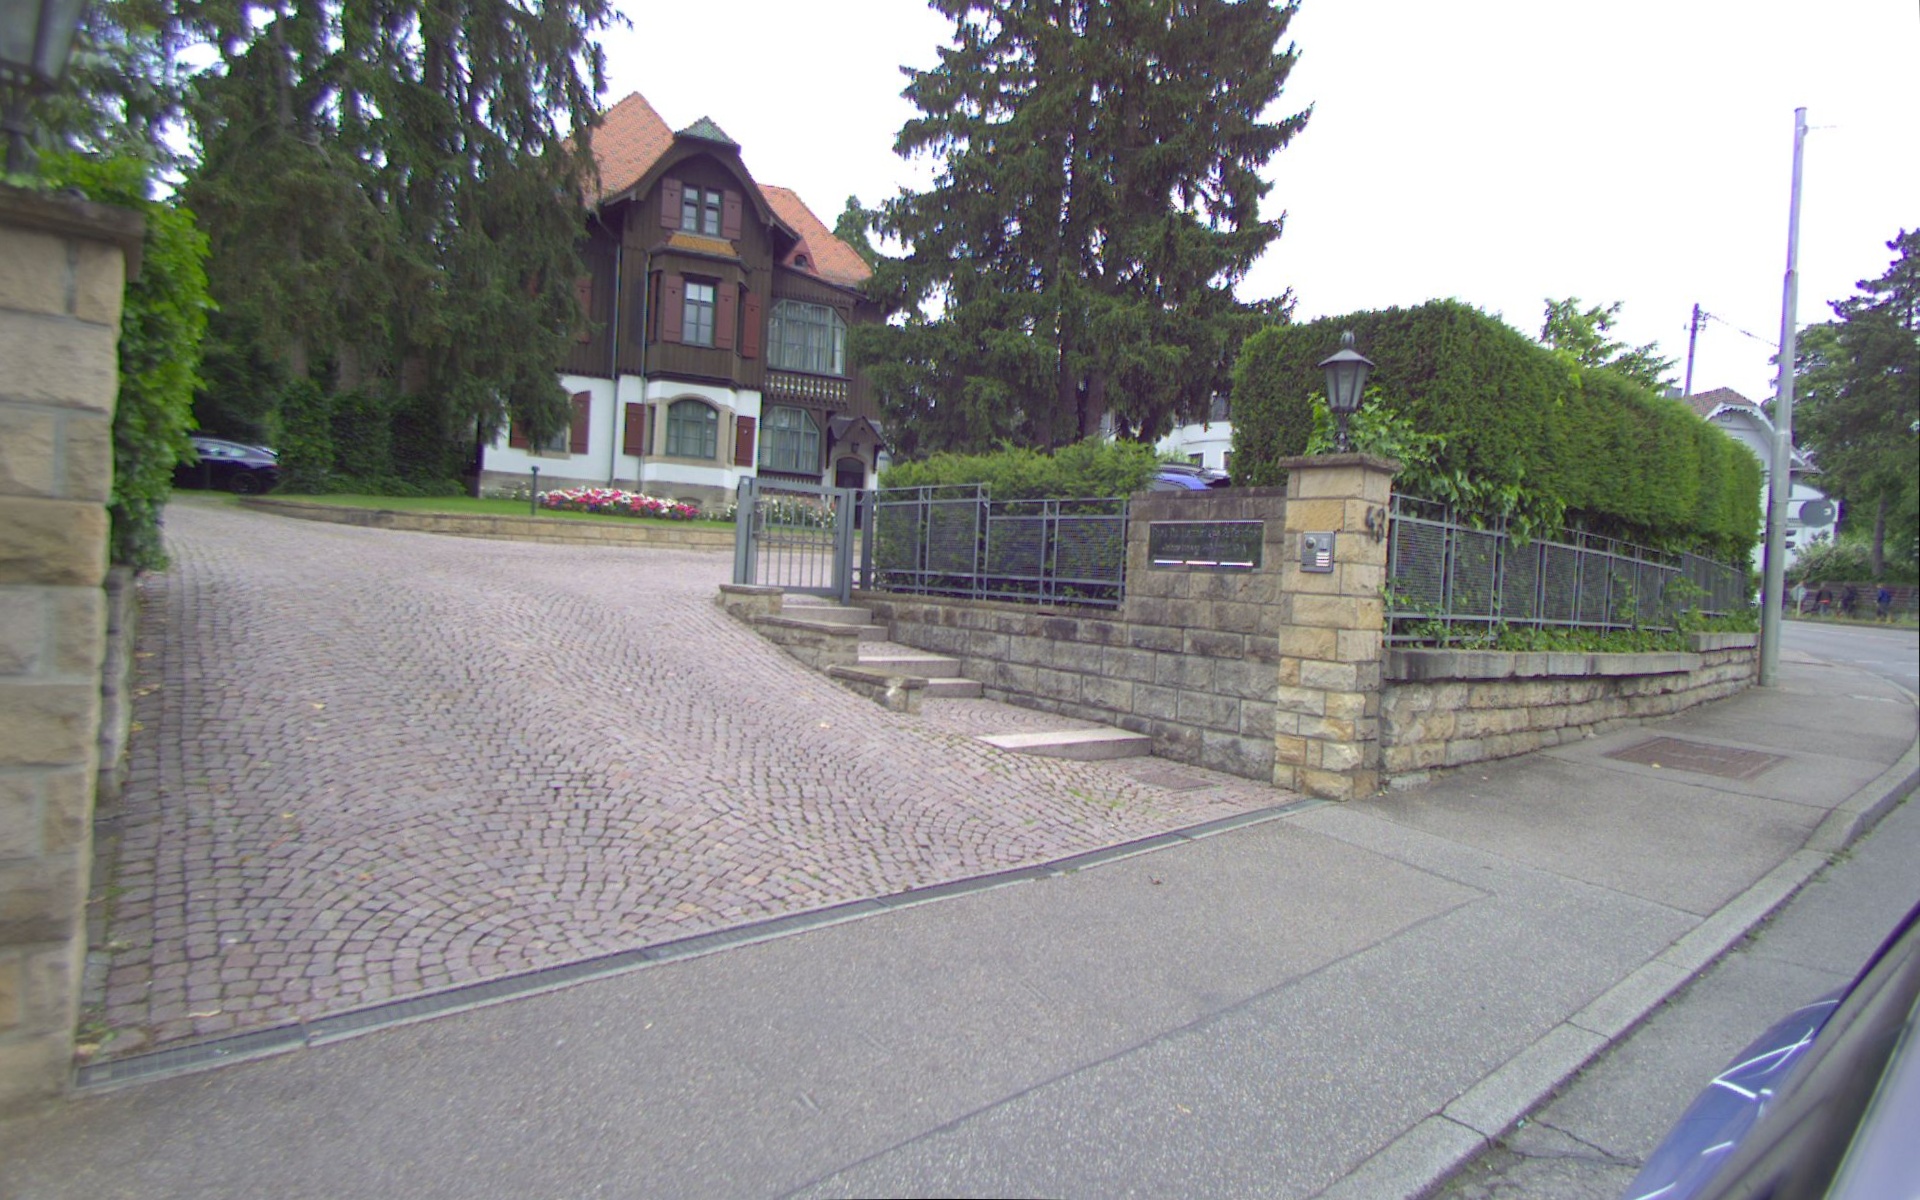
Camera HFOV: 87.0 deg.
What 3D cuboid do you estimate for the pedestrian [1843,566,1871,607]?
[{"bbox_3d":[41.513,-0.622,46.825,0.591,1.857,0.614,3,2,-13],"label":"pedestrian"}]

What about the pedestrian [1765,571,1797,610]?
[{"bbox_3d":[39.689,-0.456,48.936,0.862,1.836,0.690,2,3,-12],"label":"pedestrian"}]

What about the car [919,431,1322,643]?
[{"bbox_3d":[1.618,-0.810,11.364,1.965,1.628,4.004,0,11,-41],"label":"car"}]

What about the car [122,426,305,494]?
[{"bbox_3d":[-18.571,-3.464,25.314,3.342,1.248,1.477,5,4,-19],"label":"car"}]

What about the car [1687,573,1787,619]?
[{"bbox_3d":[37.269,-0.229,48.659,1.668,1.454,3.767,3,10,-1],"label":"car"}]

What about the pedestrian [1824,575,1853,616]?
[{"bbox_3d":[40.465,-0.200,46.606,0.600,1.809,0.668,2,3,-16],"label":"pedestrian"}]

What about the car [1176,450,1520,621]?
[{"bbox_3d":[5.059,-0.941,13.617,1.782,1.628,3.755,0,11,-41],"label":"car"}]

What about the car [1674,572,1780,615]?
[{"bbox_3d":[32.175,-0.329,42.613,1.590,1.599,3.998,2,3,5],"label":"car"}]
